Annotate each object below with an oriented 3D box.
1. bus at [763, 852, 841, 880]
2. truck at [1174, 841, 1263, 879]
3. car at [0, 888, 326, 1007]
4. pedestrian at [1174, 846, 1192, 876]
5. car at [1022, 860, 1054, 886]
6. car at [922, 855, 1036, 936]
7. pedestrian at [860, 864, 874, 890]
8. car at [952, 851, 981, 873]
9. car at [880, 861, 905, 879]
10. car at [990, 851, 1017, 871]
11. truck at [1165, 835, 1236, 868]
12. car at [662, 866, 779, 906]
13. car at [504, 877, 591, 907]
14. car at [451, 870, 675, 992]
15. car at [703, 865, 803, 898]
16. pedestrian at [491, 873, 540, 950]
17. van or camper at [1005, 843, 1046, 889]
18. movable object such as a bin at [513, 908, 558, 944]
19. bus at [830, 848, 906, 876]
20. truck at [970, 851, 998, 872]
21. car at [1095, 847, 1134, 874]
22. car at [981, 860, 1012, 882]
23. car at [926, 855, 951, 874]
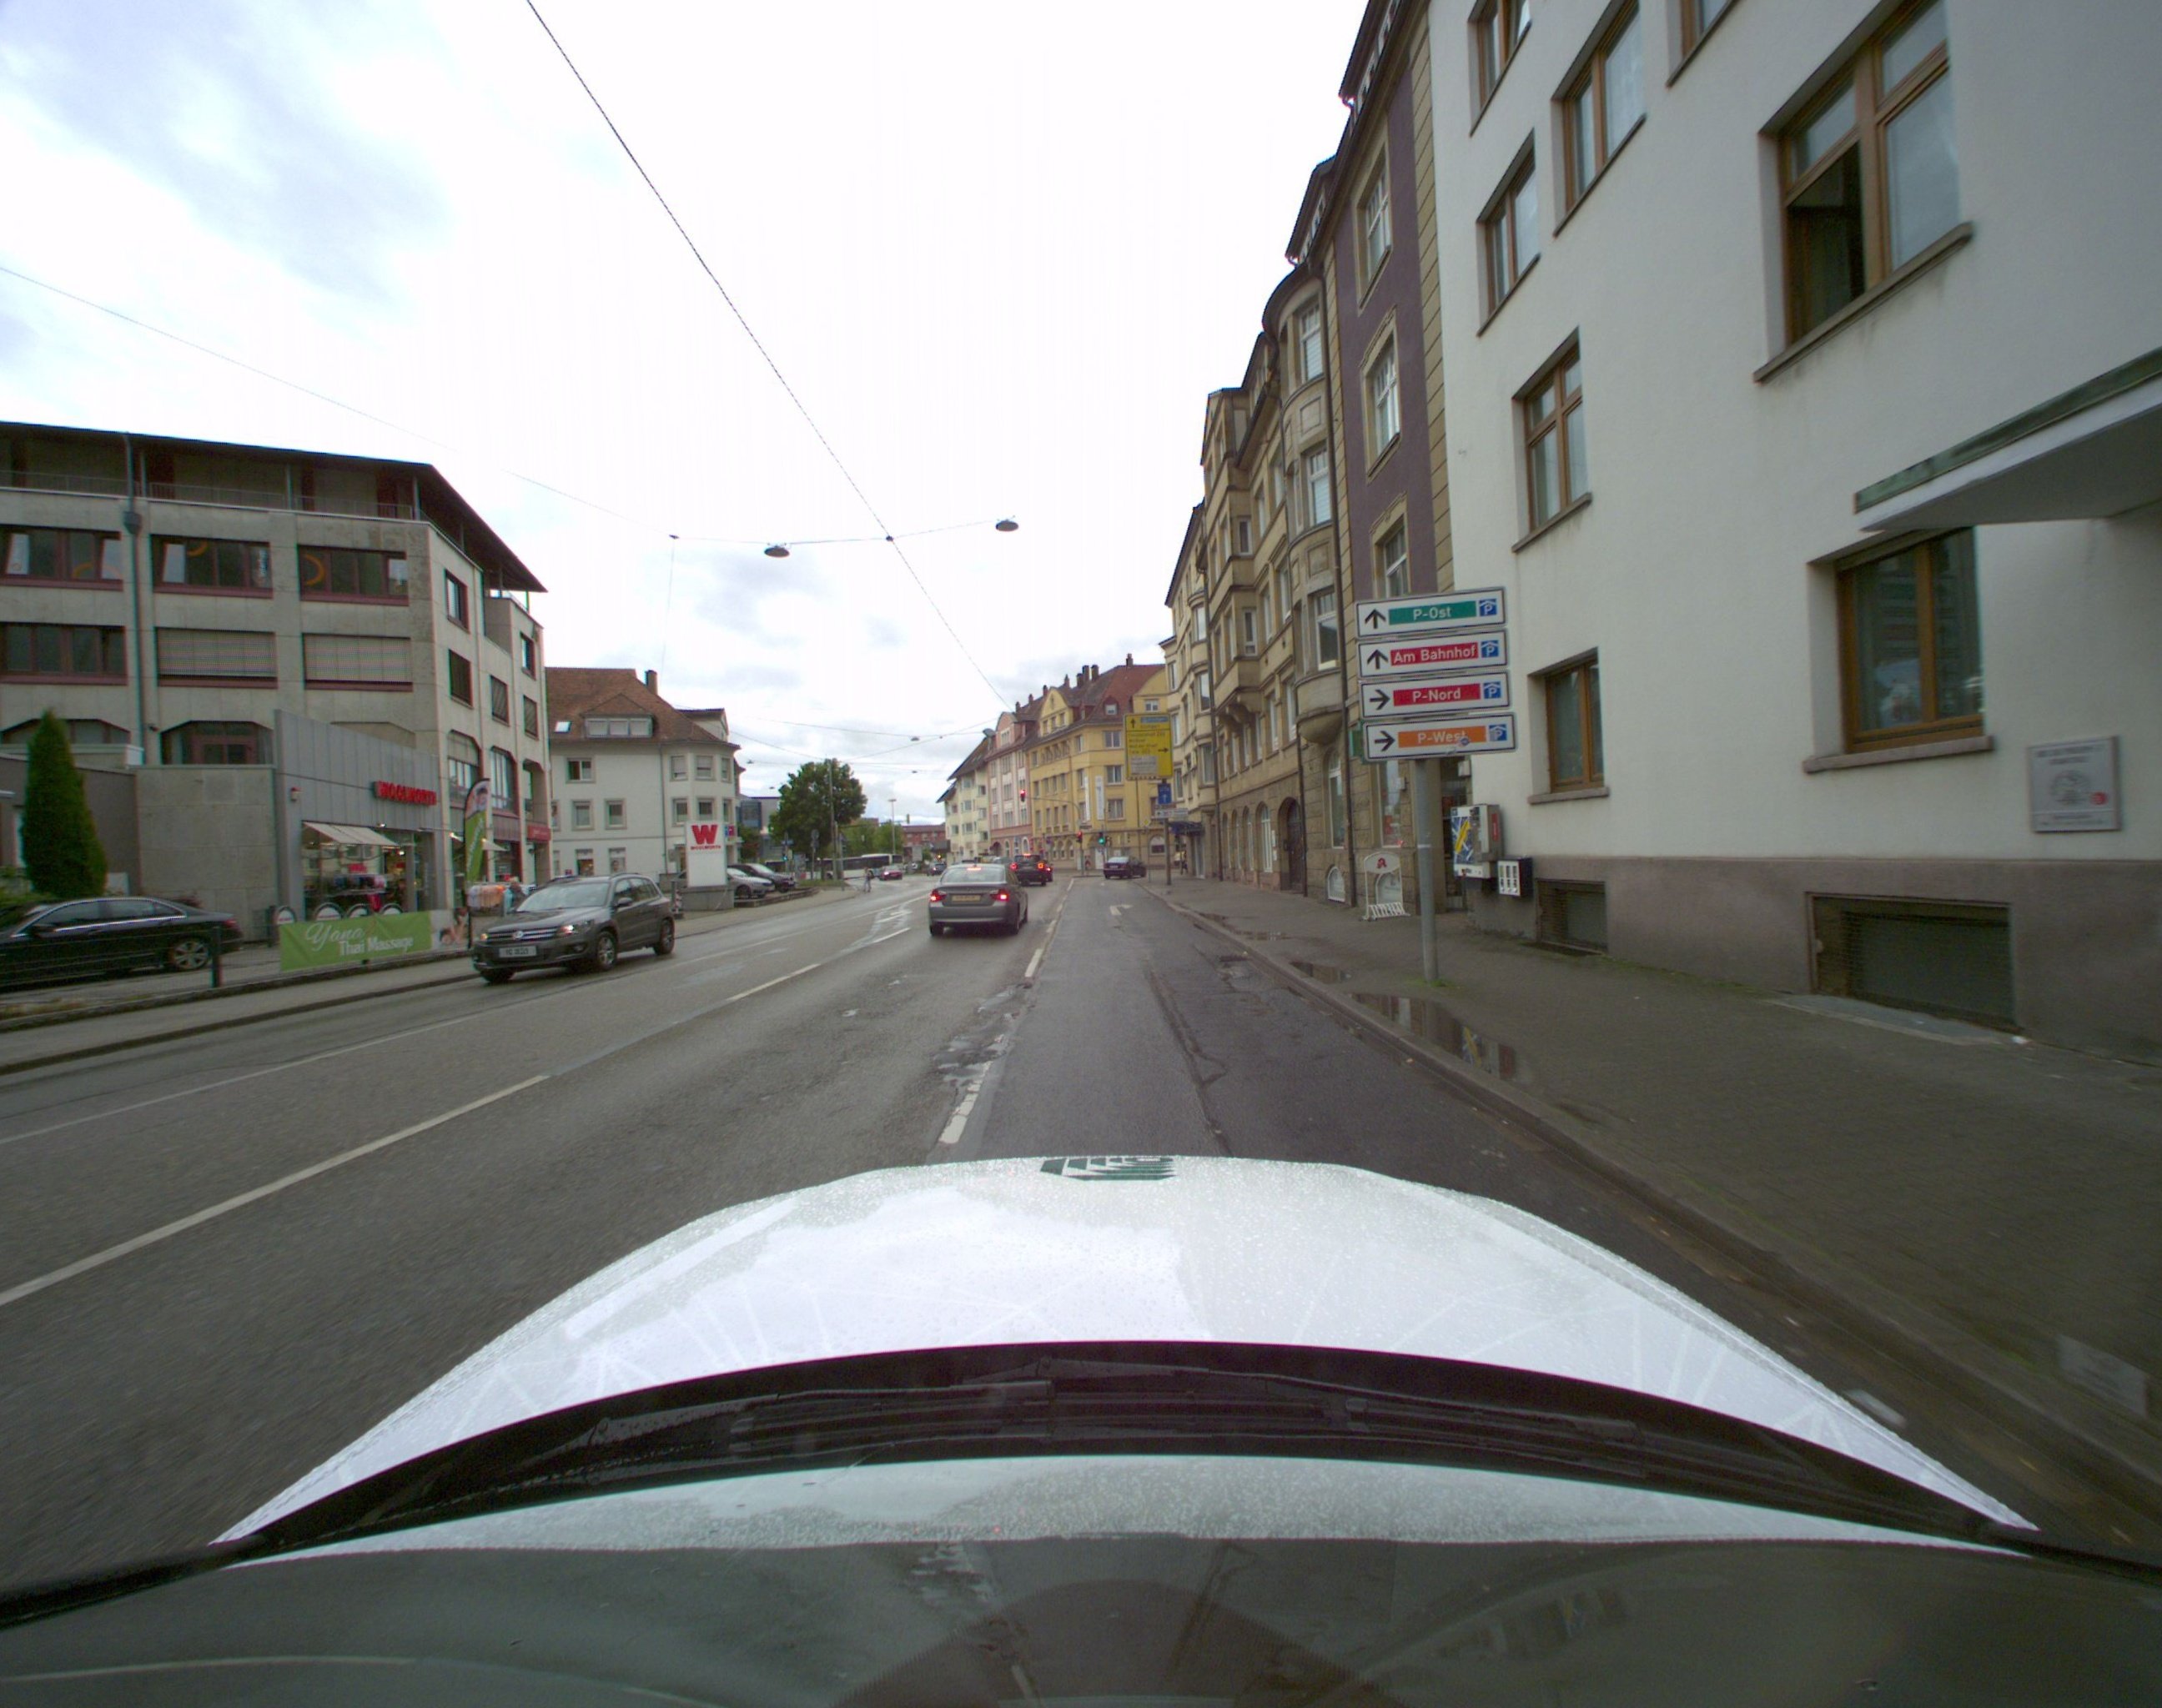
[{"bbox_3d":[-35.641,1.524,104.116,8.793,3.105,2.925,-3,0,7],"label":"bus"},{"bbox_3d":[11.595,0.498,69.126,7.069,2.851,2.082,-3,-1,-1],"label":"truck"},{"bbox_3d":[-15.490,1.410,13.085,1.982,1.439,4.662,-3,0,8],"label":"car"},{"bbox_3d":[6.565,0.455,52.375,1.052,1.903,1.027,-3,0,6],"label":"pedestrian"},{"bbox_3d":[-2.549,1.114,48.546,1.799,1.406,4.678,-2,-1,-3],"label":"car"},{"bbox_3d":[-2.023,0.791,17.317,1.793,1.464,4.370,-1,-1,0],"label":"car"},{"bbox_3d":[-12.856,1.378,48.894,0.763,1.529,0.505,-1,-2,-21],"label":"pedestrian"},{"bbox_3d":[-11.354,0.769,80.464,2.001,2.013,3.971,-3,0,-21],"label":"car"},{"bbox_3d":[-18.681,1.541,80.522,1.851,1.684,3.971,-1,-1,-21],"label":"car"},{"bbox_3d":[-8.697,0.822,90.990,1.770,2.180,3.966,0,-1,-25],"label":"car"},{"bbox_3d":[8.920,-0.183,60.558,5.087,2.249,2.206,-2,0,-38],"label":"truck"},{"bbox_3d":[-16.461,1.447,37.360,4.439,1.526,1.882,-3,0,-5],"label":"car"},{"bbox_3d":[-28.468,2.024,43.597,1.566,1.500,3.774,-3,-3,15],"label":"car"},{"bbox_3d":[-8.725,1.179,14.193,1.950,1.659,4.039,-3,0,-13],"label":"car"},{"bbox_3d":[-17.119,1.409,42.633,4.393,1.506,1.958,-2,0,8],"label":"car"},{"bbox_3d":[-13.095,1.312,18.853,0.752,1.685,0.745,-3,0,-45],"label":"pedestrian"},{"bbox_3d":[-2.795,0.592,41.722,1.850,2.146,4.138,-3,0,-3],"label":"van or camper"},{"bbox_3d":[-13.066,1.714,19.503,0.737,0.789,0.745,-2,-1,-45],"label":"movable object such as a bin"},{"bbox_3d":[-26.677,1.004,102.063,9.034,3.105,2.934,-3,0,21],"label":"bus"},{"bbox_3d":[-11.465,0.855,96.132,2.036,2.389,4.201,-2,0,-25],"label":"truck"},{"bbox_3d":[2.032,0.405,50.525,1.797,1.563,3.990,-2,-1,-7],"label":"car"},{"bbox_3d":[-7.835,1.567,75.159,1.998,1.816,3.976,-3,-1,-17],"label":"car"},{"bbox_3d":[-16.137,1.233,92.143,2.001,2.013,3.971,-3,0,-21],"label":"car"}]
